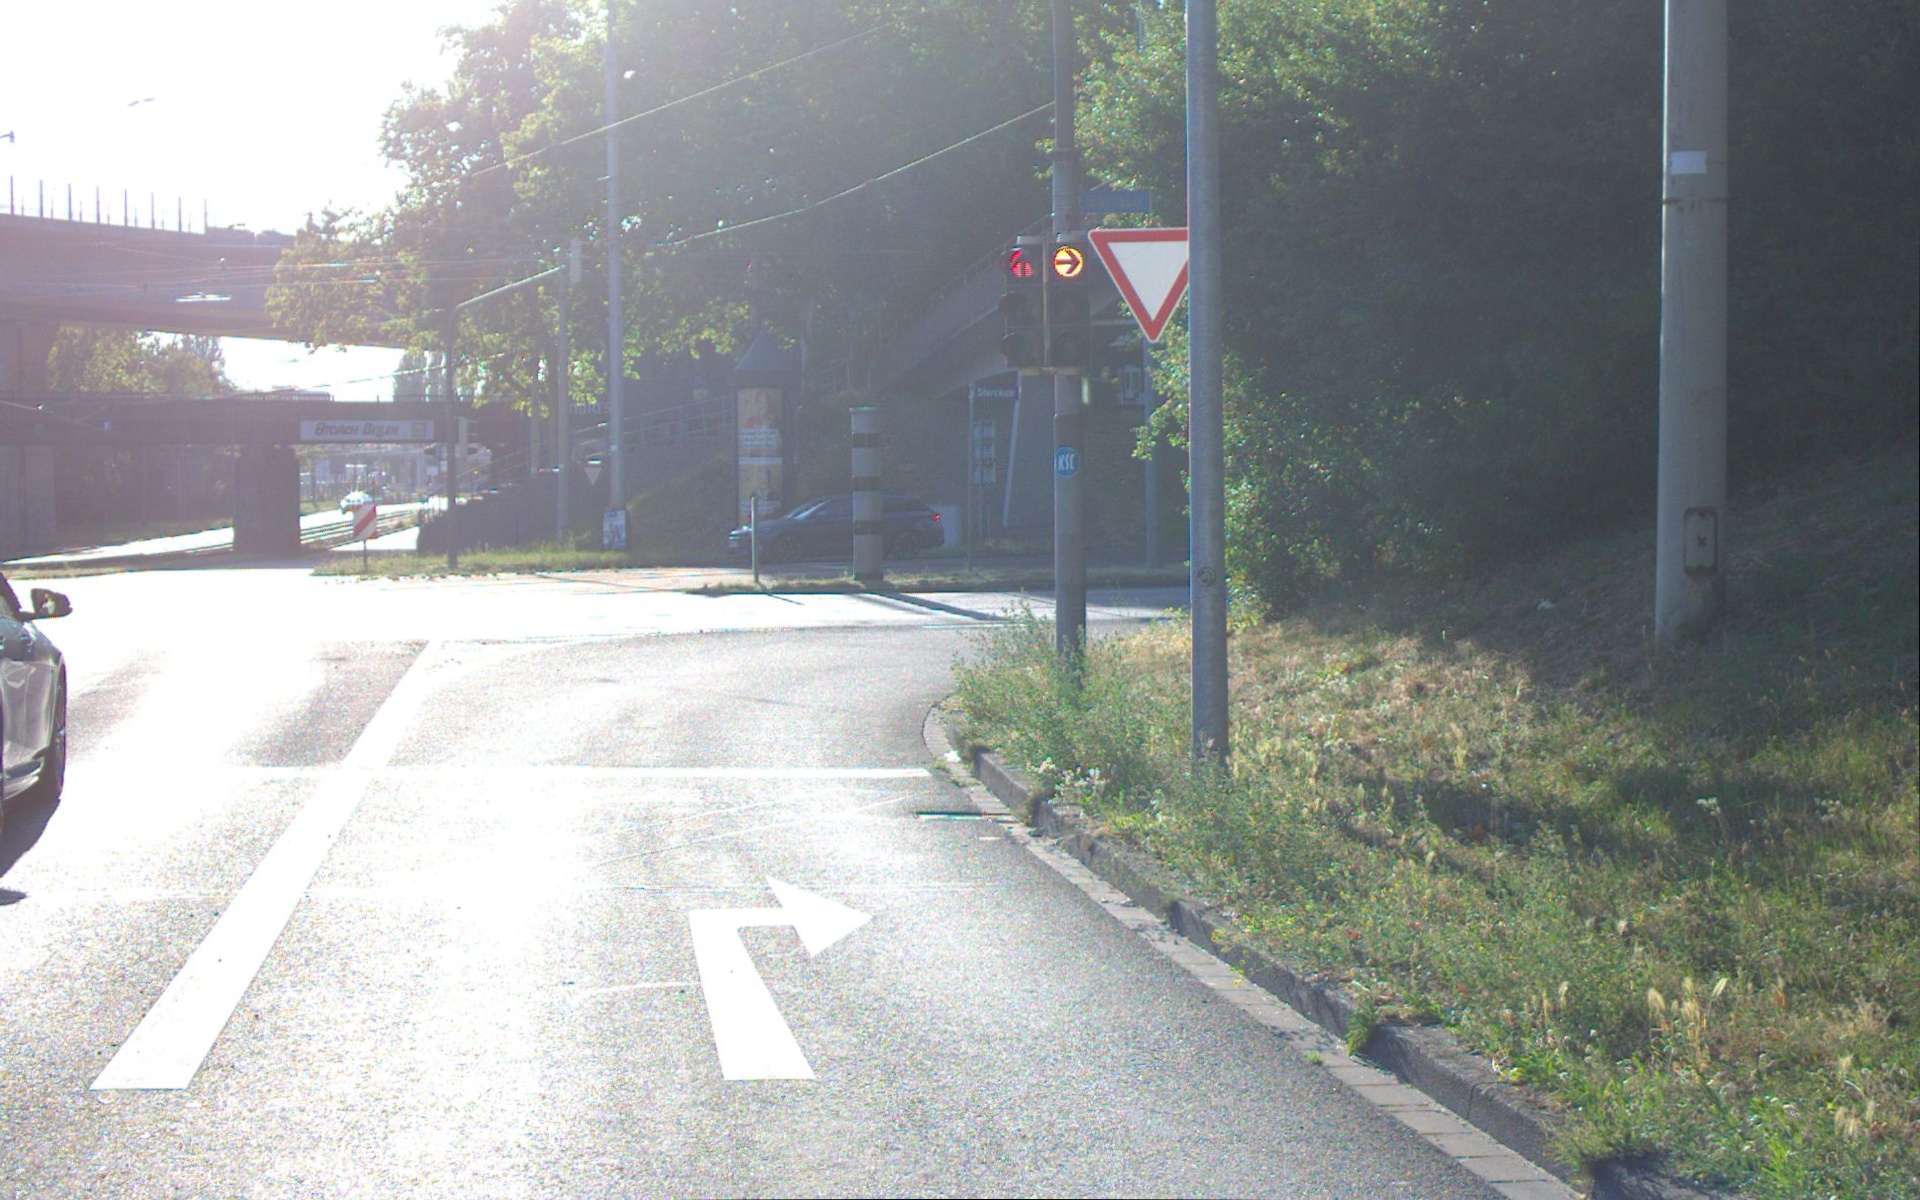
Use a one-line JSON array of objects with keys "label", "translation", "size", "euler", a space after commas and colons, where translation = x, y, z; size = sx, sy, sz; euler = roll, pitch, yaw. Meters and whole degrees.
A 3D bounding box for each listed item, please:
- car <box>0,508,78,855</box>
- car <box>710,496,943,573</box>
[{"label": "car", "translation": [-5.110, 0.339, 15.563], "size": [1.713, 1.460, 4.208], "euler": [-1, 2, -8]}, {"label": "car", "translation": [-2.809, -1.380, 72.328], "size": [4.575, 1.569, 1.694], "euler": [0, 2, -23]}]
